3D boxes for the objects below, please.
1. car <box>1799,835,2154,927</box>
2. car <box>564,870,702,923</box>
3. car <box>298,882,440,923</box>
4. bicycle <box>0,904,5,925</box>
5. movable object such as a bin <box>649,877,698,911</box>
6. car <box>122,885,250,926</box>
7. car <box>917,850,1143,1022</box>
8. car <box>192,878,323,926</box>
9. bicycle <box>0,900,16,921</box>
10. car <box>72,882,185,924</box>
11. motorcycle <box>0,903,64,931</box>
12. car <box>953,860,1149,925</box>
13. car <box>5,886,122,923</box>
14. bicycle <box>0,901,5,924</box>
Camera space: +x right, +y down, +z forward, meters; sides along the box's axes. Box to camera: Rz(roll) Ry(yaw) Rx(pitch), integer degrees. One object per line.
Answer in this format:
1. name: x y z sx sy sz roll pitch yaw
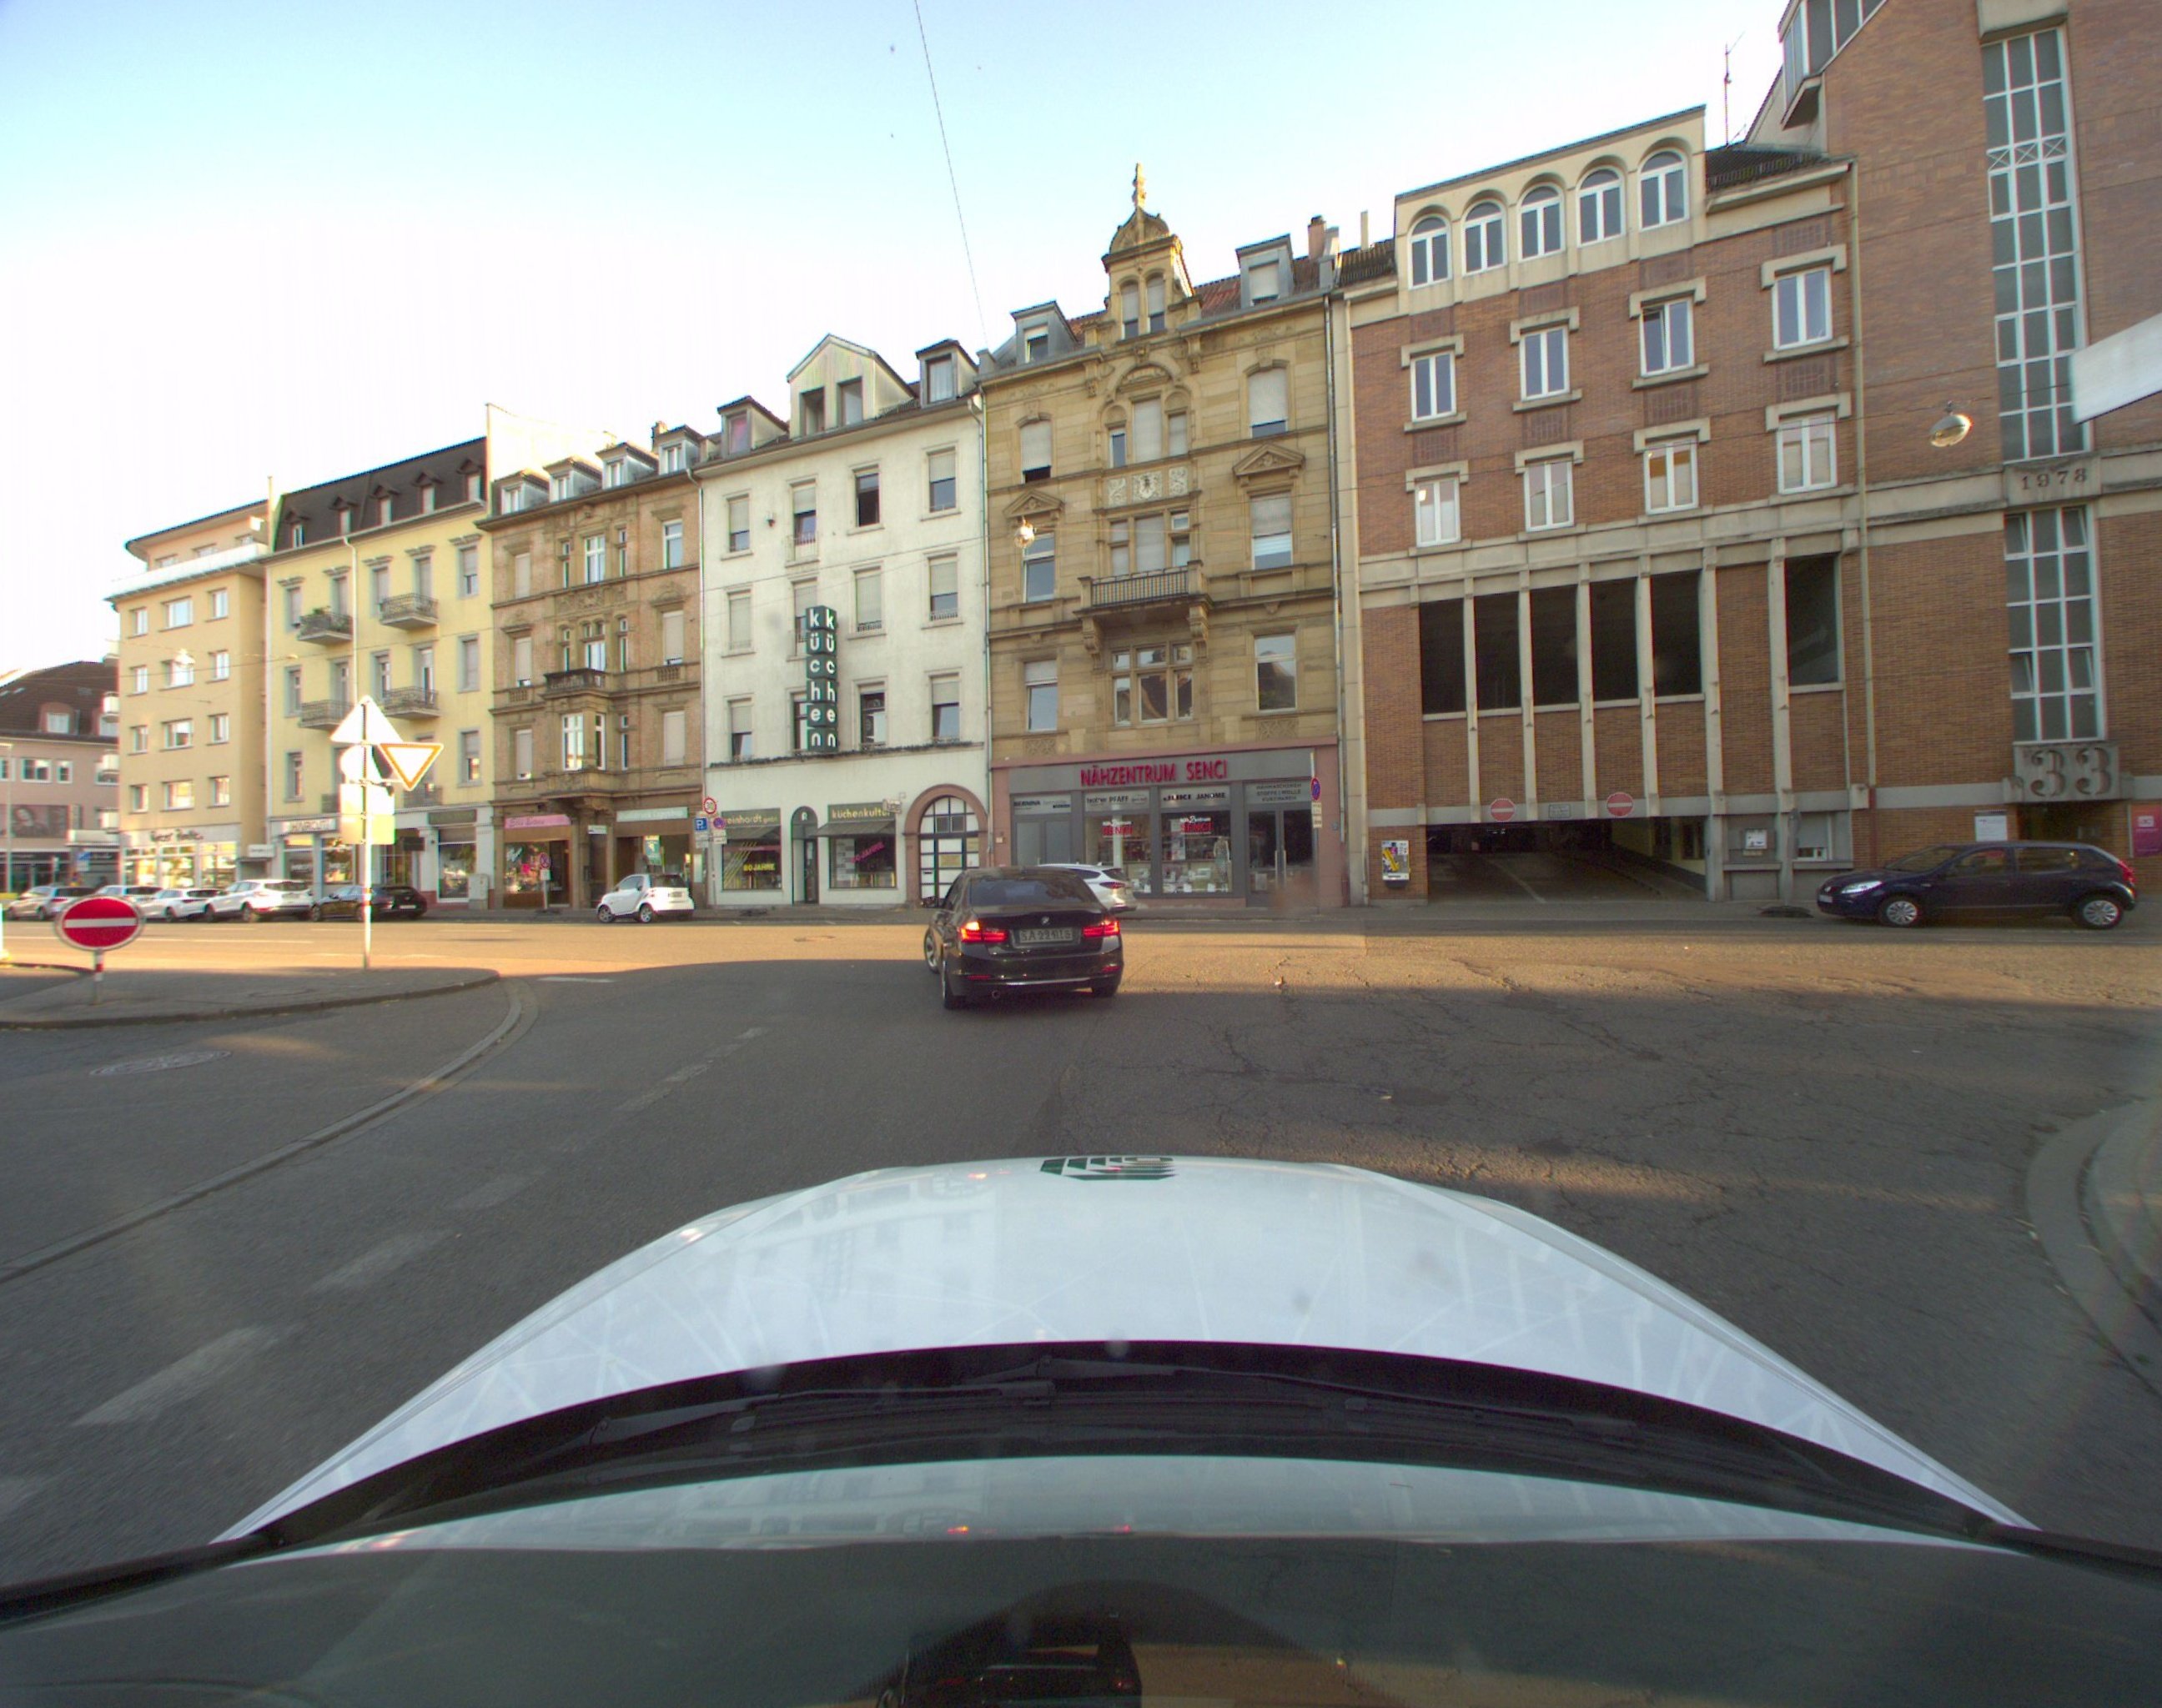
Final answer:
1. car: 16.300 0.476 15.154 3.953 1.520 2.011 -1 0 21
2. car: -14.363 1.321 26.106 3.952 1.585 1.714 0 0 21
3. car: -26.914 1.824 30.809 4.793 1.434 2.010 -2 -2 21
4. bicycle: -58.209 3.209 42.748 0.753 1.112 1.899 -2 -2 18
5. movable object such as a bin: -14.843 1.465 29.651 1.382 1.186 0.873 -2 -1 20
6. car: -38.012 2.155 34.608 4.811 1.543 2.033 0 -1 21
7. car: -0.850 0.791 9.479 1.891 1.492 4.184 -1 -2 -14
8. car: -32.683 1.841 32.316 4.604 1.745 1.898 0 -1 20
9. bicycle: -56.629 2.946 42.030 0.595 1.112 1.899 -2 -2 19
10. car: -42.845 2.158 36.625 4.356 1.762 1.883 0 -1 20
11. motorcycle: -53.217 3.186 41.327 0.708 1.263 1.827 -2 0 19
12. car: -0.744 0.936 21.032 4.628 1.535 2.010 0 -1 19
13. car: -48.584 2.415 38.878 4.748 1.613 2.010 -2 -1 19
14. bicycle: -57.546 3.088 42.258 0.715 1.167 1.899 -2 -1 18
